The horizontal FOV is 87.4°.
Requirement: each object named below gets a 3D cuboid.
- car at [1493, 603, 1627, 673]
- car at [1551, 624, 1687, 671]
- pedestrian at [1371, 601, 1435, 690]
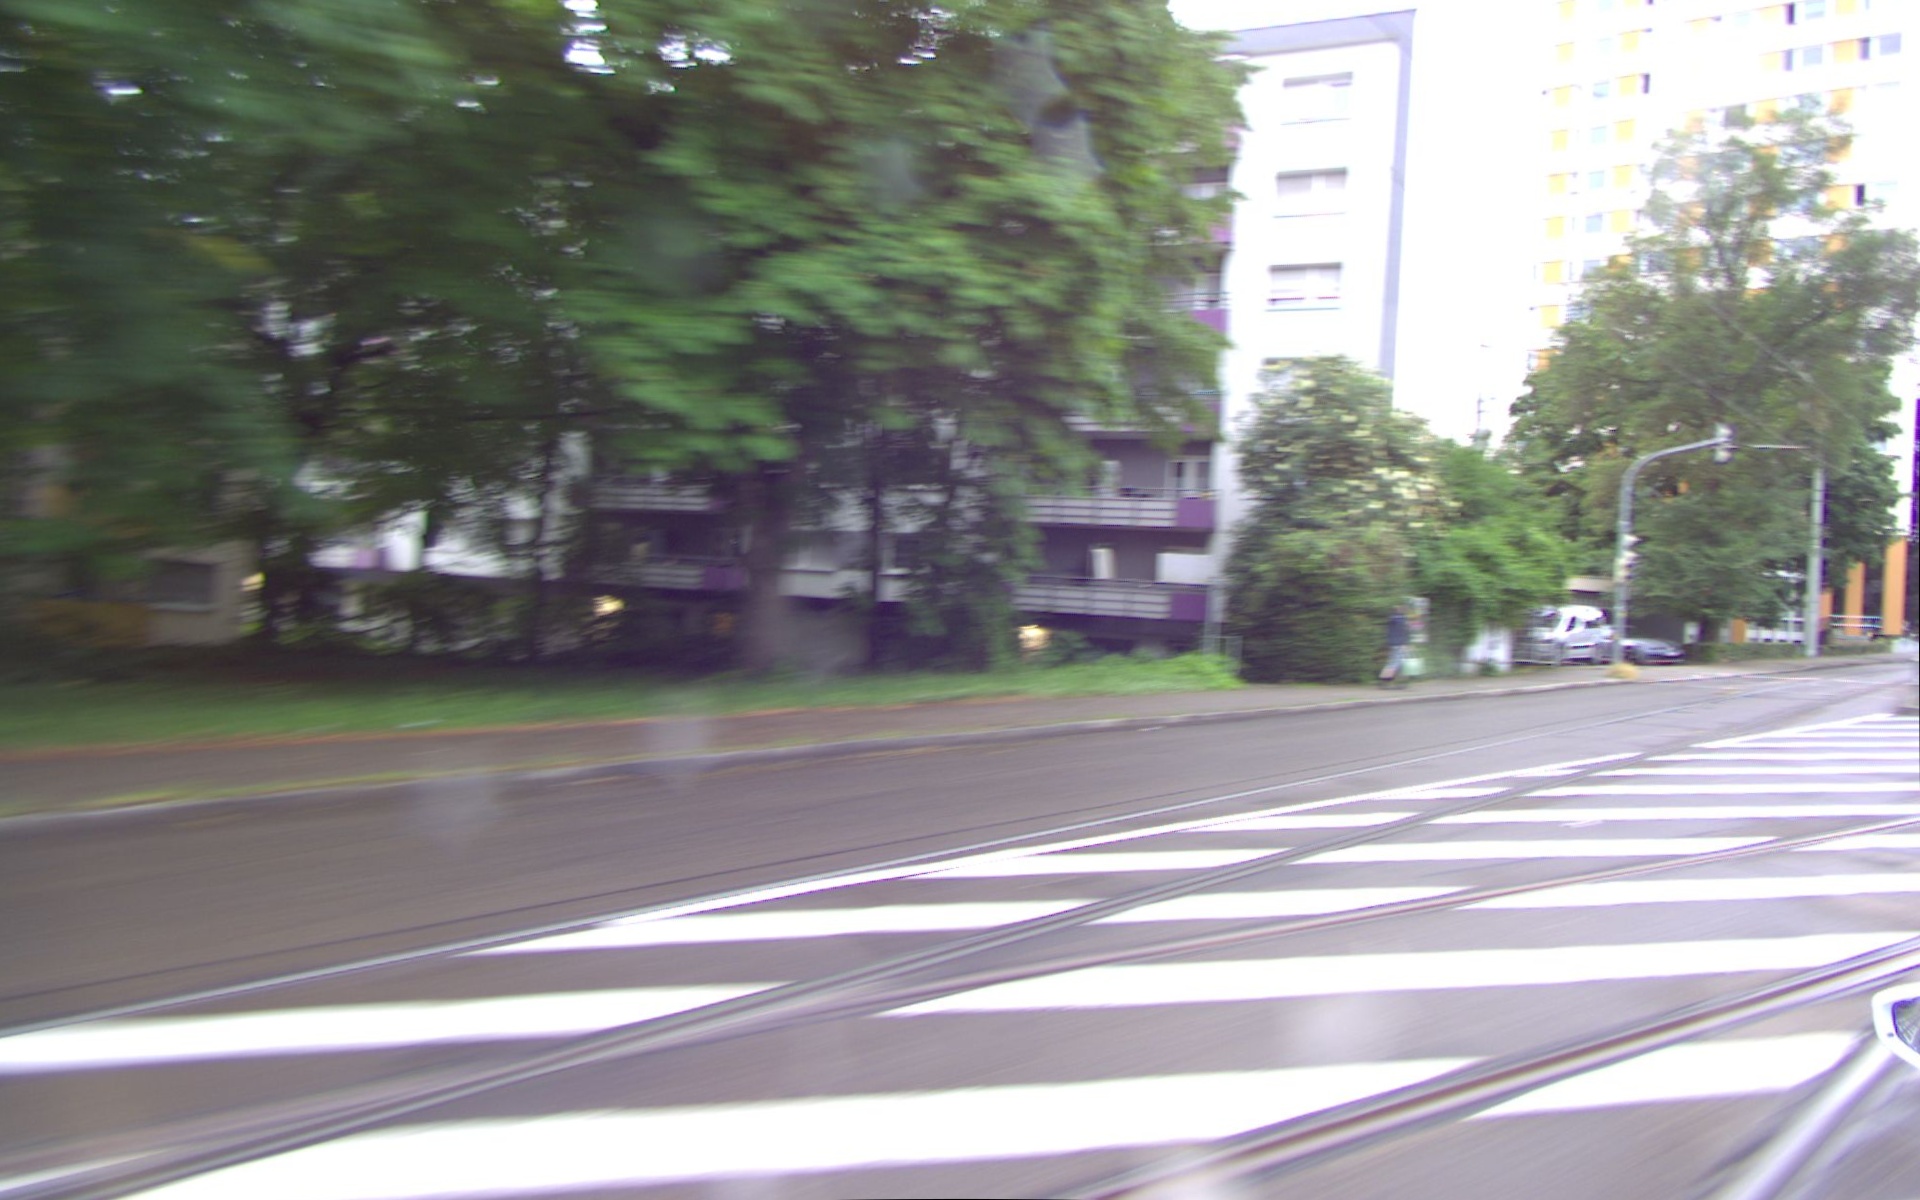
[{"bbox_3d":[18.166,1.159,30.376,3.962,1.705,1.981,7,-3,-35],"label":"car"},{"bbox_3d":[23.702,1.671,36.287,1.655,1.424,3.989,6,-2,-14],"label":"car"},{"bbox_3d":[8.812,0.899,19.994,0.908,1.700,0.734,2,0,-31],"label":"pedestrian"}]
